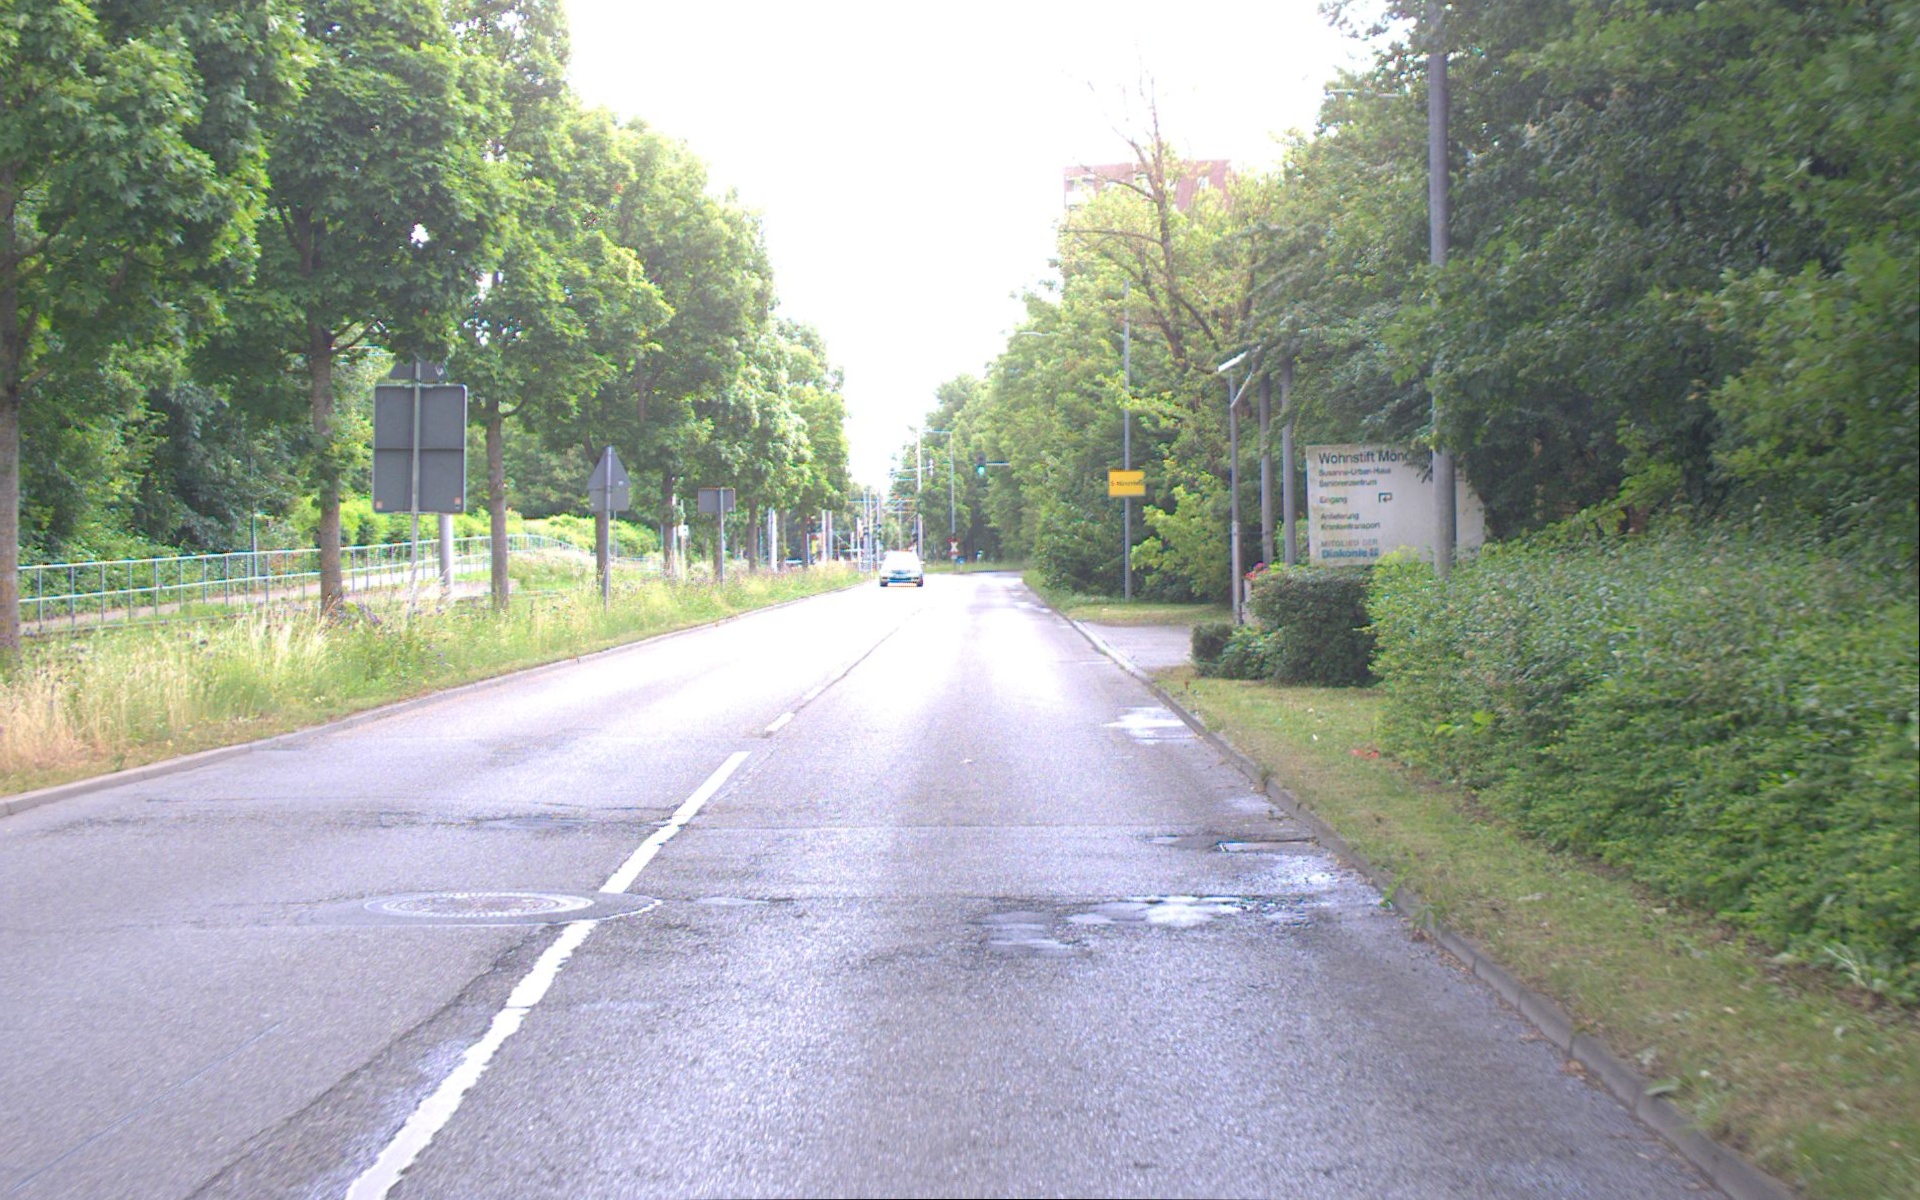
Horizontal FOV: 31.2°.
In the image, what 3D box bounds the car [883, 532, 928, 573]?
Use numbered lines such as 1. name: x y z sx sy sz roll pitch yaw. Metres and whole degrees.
1. car: -2.294 -2.027 145.480 1.716 1.624 4.000 3 1 1
